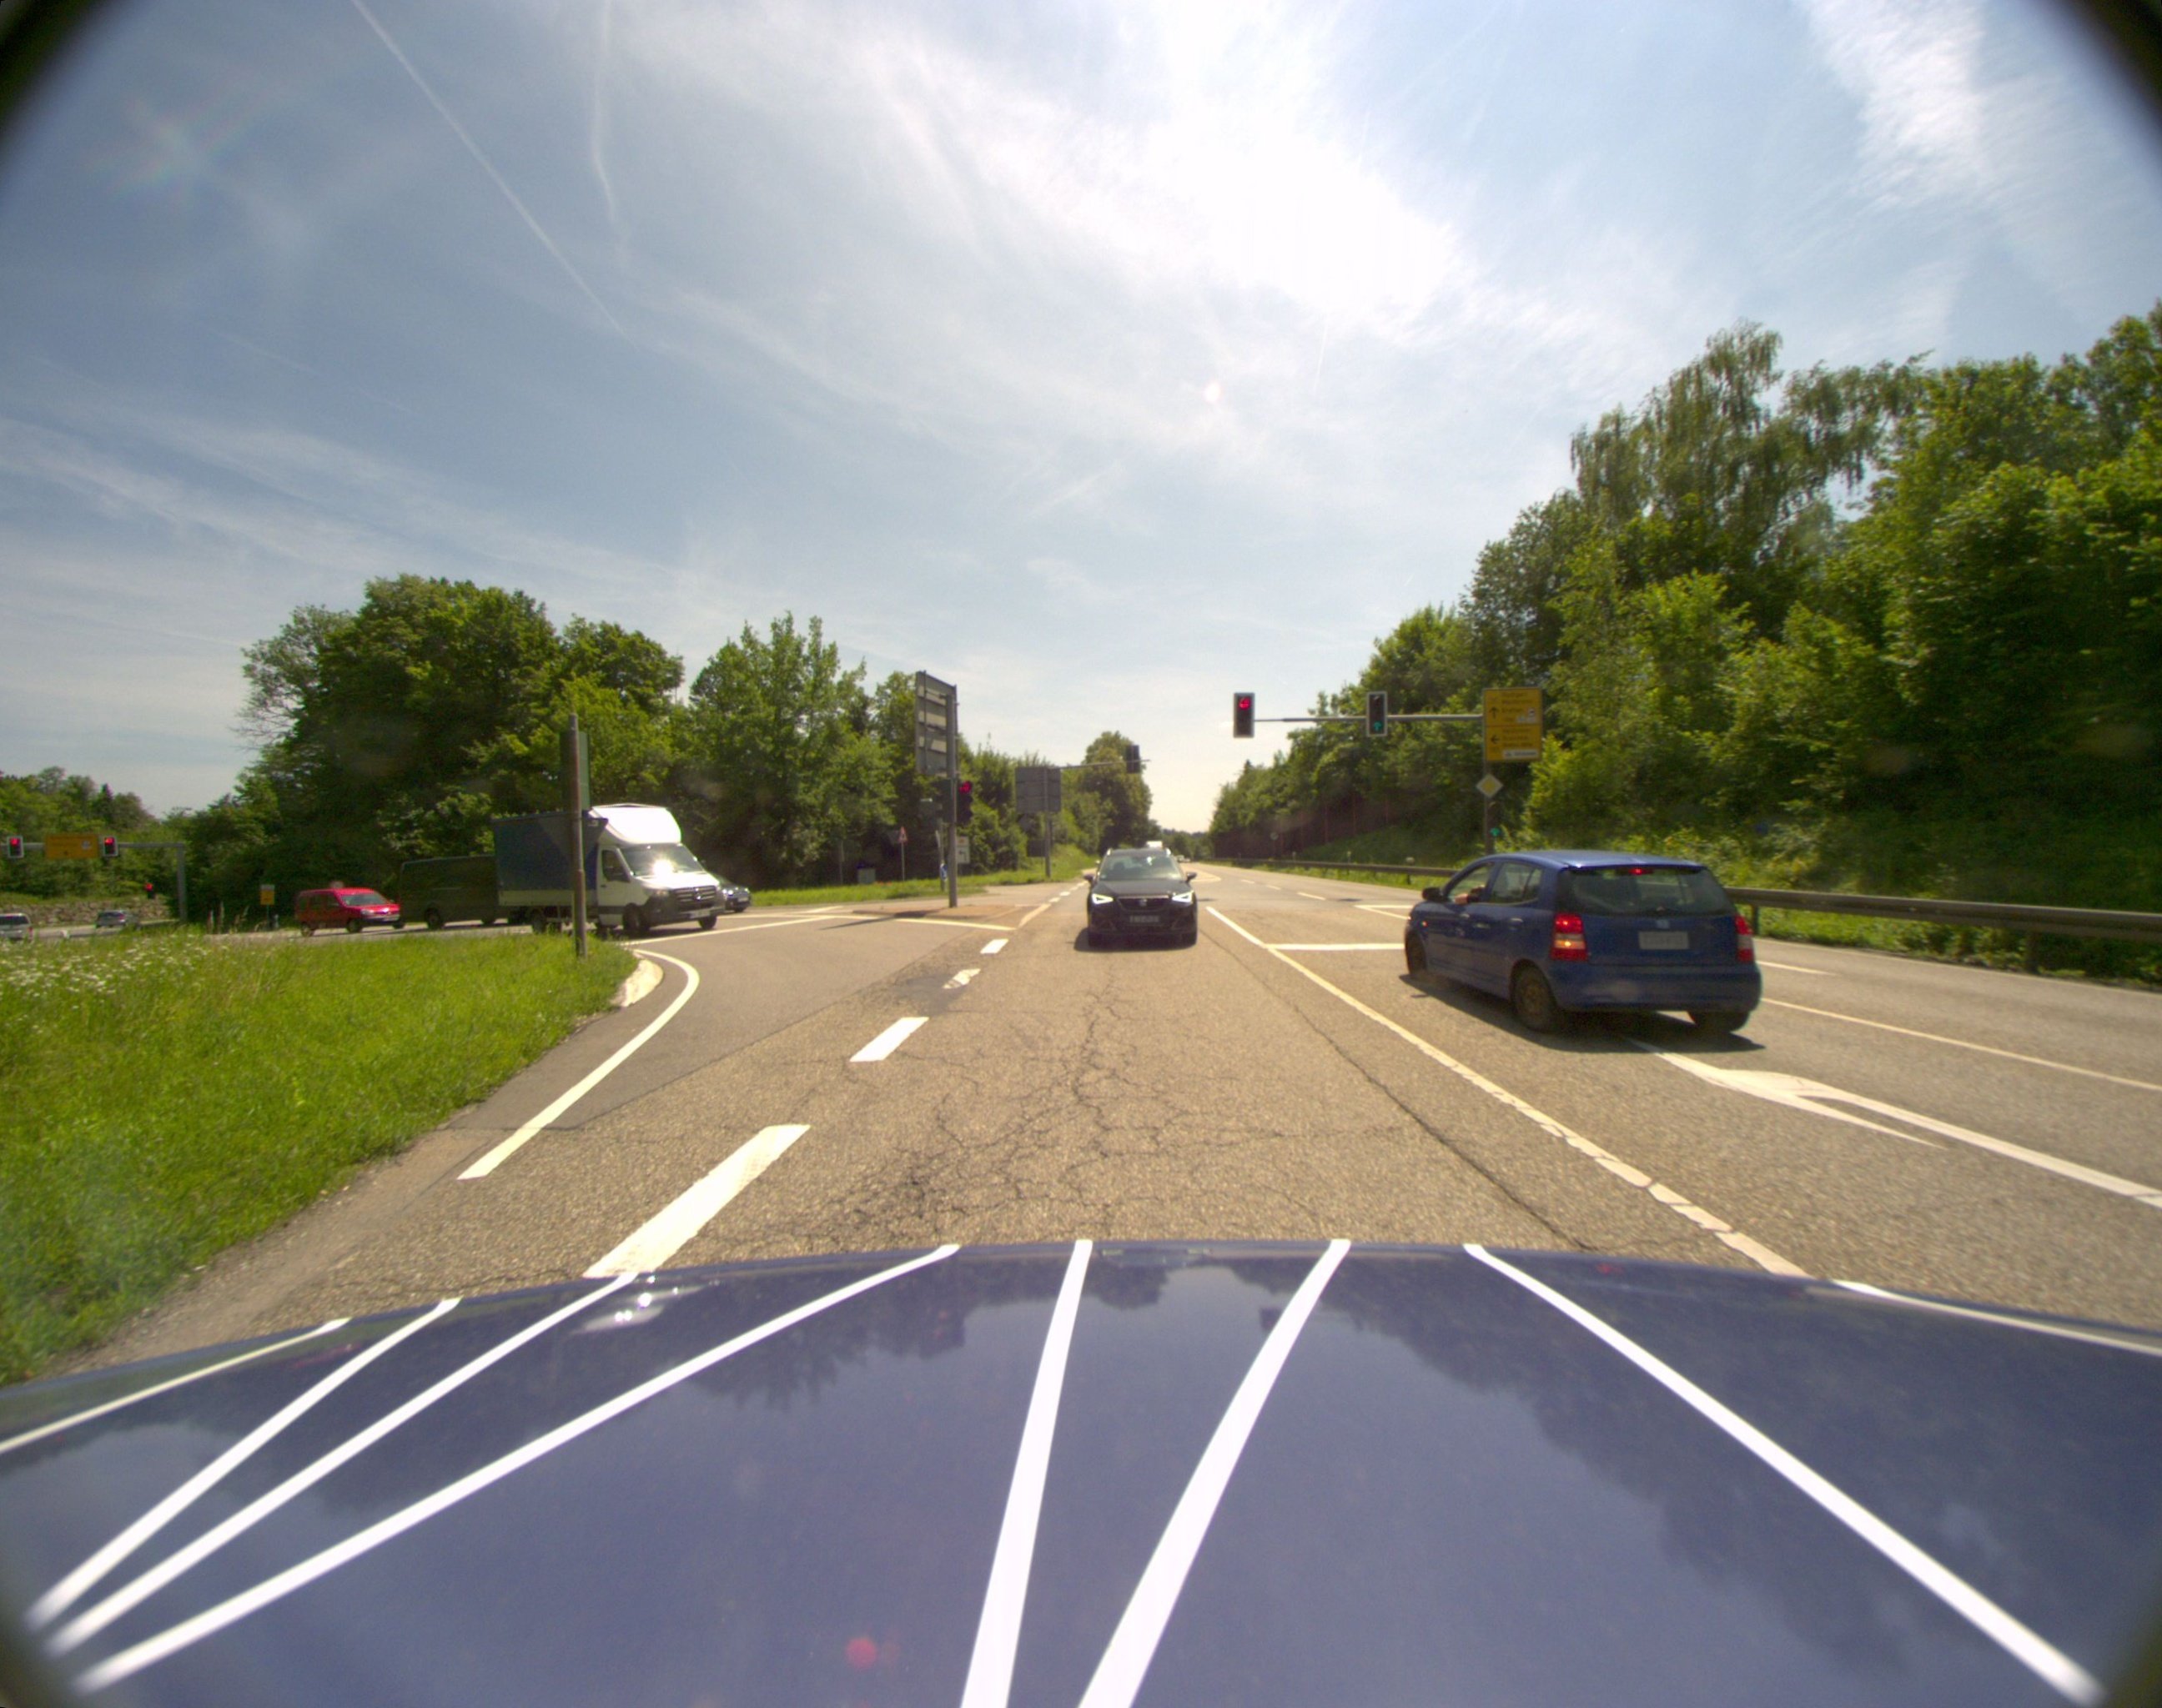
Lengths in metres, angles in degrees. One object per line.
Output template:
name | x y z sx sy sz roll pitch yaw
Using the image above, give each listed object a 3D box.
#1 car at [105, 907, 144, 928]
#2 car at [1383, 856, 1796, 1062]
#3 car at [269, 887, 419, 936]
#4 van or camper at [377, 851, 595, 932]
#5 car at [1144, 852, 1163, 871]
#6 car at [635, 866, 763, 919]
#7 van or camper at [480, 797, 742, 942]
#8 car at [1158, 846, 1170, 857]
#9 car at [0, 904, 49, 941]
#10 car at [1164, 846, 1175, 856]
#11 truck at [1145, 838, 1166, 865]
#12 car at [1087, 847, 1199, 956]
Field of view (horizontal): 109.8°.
car | -87.553 5.812 69.594 3.989 1.652 2.004 -3 1 40
car | 4.424 0.770 7.384 1.570 1.432 3.770 -1 1 2
car | -28.846 2.241 29.743 5.112 1.598 1.851 -3 1 17
van or camper | -21.360 1.348 27.291 7.221 2.462 2.412 -3 0 18
car | 8.284 0.832 87.005 1.998 2.002 4.001 -2 1 5
car | -12.403 1.241 24.763 3.353 1.457 1.691 -4 1 15
van or camper | -12.074 0.437 19.313 7.235 3.194 2.108 -2 2 28
car | 13.569 -0.419 124.252 1.997 1.756 4.001 -1 1 6
car | -64.257 4.123 45.692 3.990 2.002 2.003 -2 1 29
car | 15.937 -0.501 136.705 1.997 1.756 4.001 -1 1 6
truck | 11.187 -0.357 114.586 2.839 3.794 8.453 -2 0 4
car | 0.990 0.690 13.256 1.626 1.536 4.000 -2 1 2
